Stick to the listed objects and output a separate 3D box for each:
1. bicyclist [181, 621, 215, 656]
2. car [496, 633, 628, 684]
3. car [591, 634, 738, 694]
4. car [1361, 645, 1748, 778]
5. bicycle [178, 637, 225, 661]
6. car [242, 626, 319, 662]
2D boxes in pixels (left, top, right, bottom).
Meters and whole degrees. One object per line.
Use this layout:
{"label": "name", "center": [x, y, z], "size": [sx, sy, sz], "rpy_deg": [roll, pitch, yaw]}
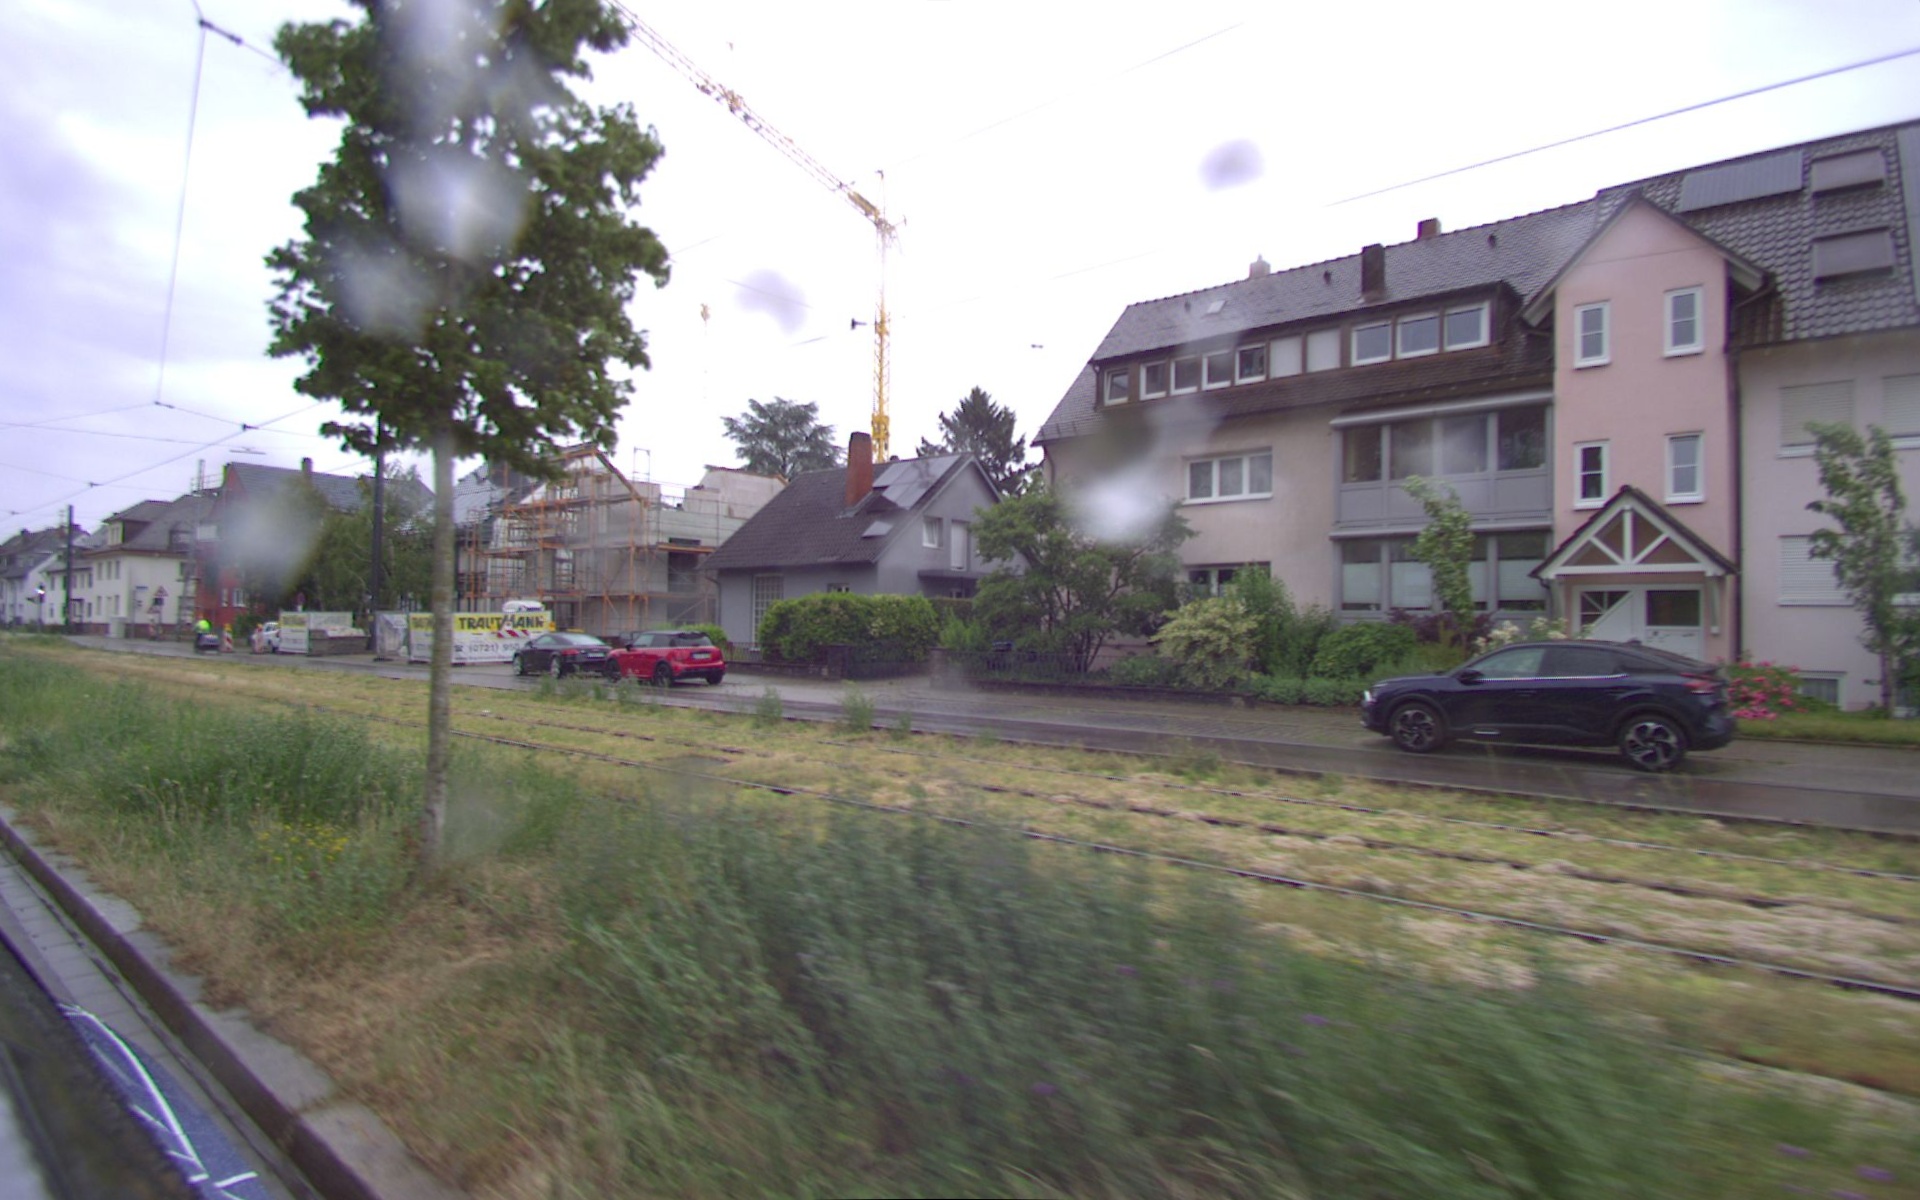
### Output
{"label": "bicyclist", "center": [-35.719, 1.785, 47.445], "size": [1.399, 1.596, 0.944], "rpy_deg": [0, -1, 40]}
{"label": "car", "center": [-12.006, 1.744, 30.433], "size": [4.170, 1.420, 1.973], "rpy_deg": [-3, -3, 40]}
{"label": "car", "center": [-7.932, 1.660, 27.065], "size": [3.840, 1.383, 1.973], "rpy_deg": [0, -1, 40]}
{"label": "car", "center": [7.742, 1.340, 13.394], "size": [4.171, 1.437, 1.818], "rpy_deg": [-2, -2, 40]}
{"label": "bicycle", "center": [-35.331, 2.267, 47.104], "size": [3.430, 1.051, 0.925], "rpy_deg": [-1, -3, 39]}
{"label": "car", "center": [-33.698, 2.136, 50.144], "size": [4.246, 1.640, 1.974], "rpy_deg": [0, -1, 38]}
